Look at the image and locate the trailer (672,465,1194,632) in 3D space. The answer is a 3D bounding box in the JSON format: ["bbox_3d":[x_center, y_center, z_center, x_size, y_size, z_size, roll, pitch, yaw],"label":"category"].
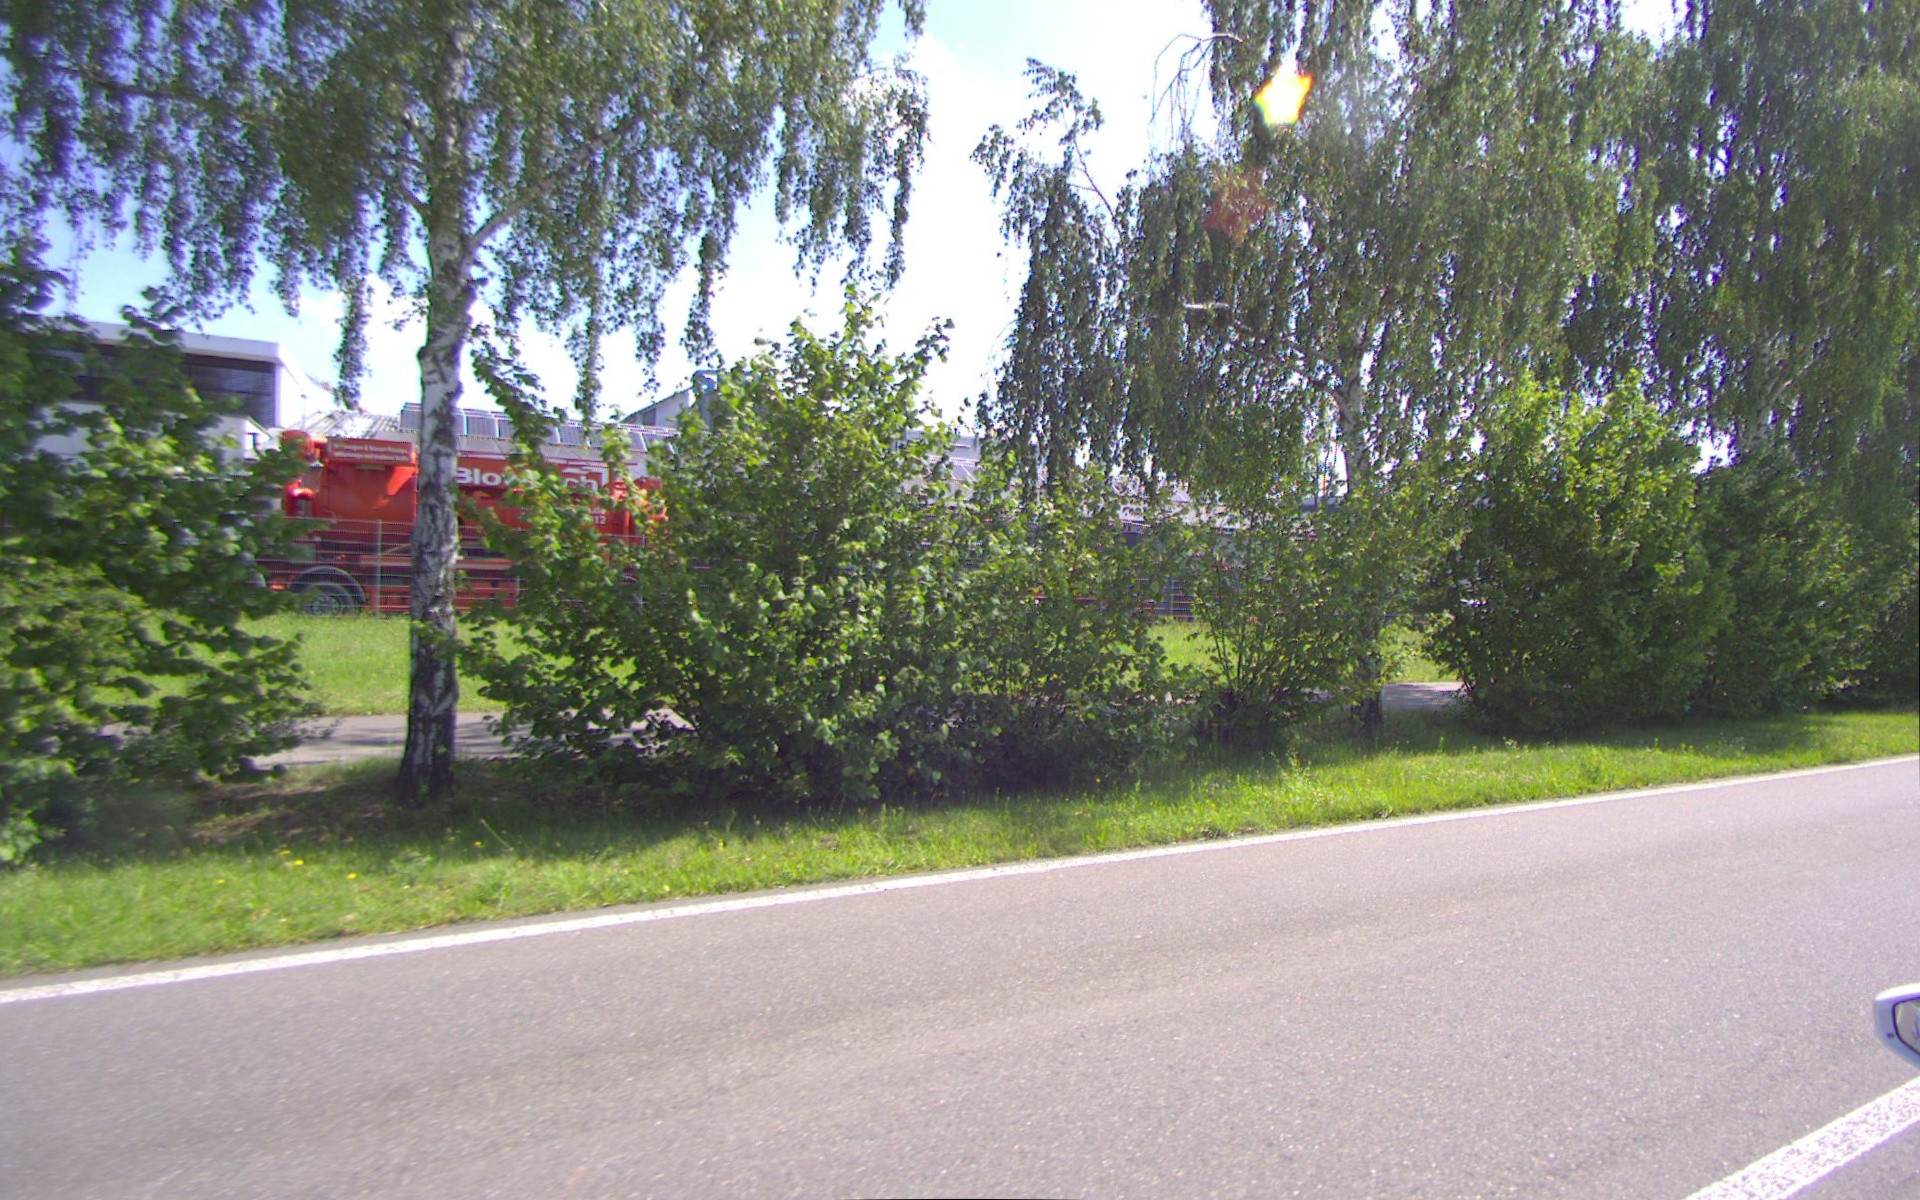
[{"bbox_3d":[-0.233,-1.117,28.251,14.738,3.693,3.277,2,0,-28],"label":"trailer"}]

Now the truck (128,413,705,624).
[{"bbox_3d":[-11.290,-1.464,22.249,10.461,3.693,3.089,2,0,-28],"label":"truck"}]

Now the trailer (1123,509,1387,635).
[{"bbox_3d":[9.996,-0.796,33.772,8.550,3.693,3.386,2,0,-28],"label":"trailer"}]
